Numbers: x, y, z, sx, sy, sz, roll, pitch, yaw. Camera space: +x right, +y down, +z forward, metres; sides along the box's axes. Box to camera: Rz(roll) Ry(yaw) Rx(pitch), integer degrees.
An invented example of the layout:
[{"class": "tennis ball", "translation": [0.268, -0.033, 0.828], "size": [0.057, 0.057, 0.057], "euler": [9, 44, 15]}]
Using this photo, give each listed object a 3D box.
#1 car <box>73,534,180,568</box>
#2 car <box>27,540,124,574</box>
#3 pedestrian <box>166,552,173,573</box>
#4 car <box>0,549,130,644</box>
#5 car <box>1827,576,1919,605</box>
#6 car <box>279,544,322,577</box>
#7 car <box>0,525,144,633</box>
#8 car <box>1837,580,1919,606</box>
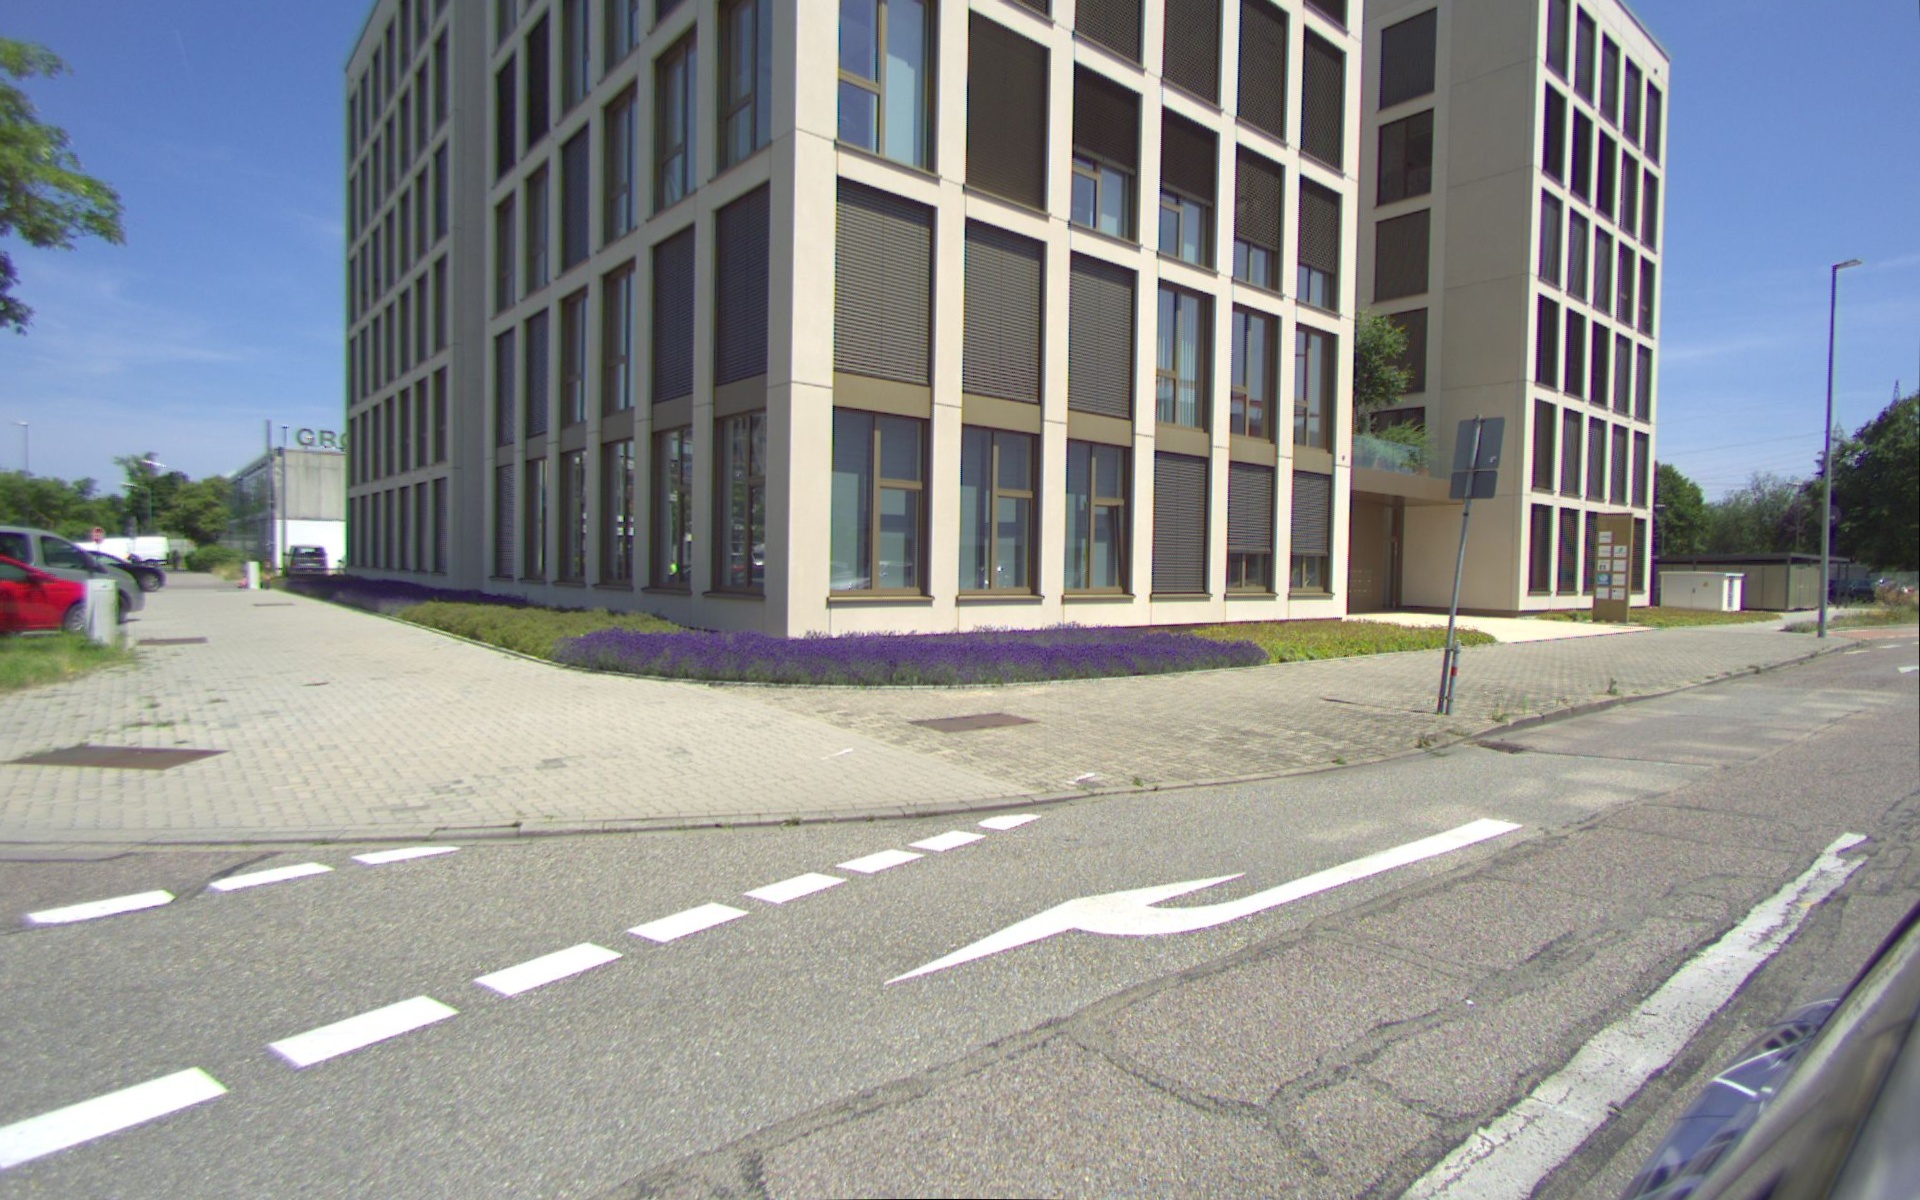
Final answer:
[{"class": "car", "translation": [-67.285, -3.916, 81.902], "size": [6.573, 2.552, 2.217], "euler": [-1, 0, -38]}, {"class": "car", "translation": [-55.164, -2.650, 63.224], "size": [4.495, 2.039, 1.997], "euler": [-1, 0, -40]}, {"class": "pedestrian", "translation": [-58.045, -2.750, 74.302], "size": [0.397, 1.579, 0.549], "euler": [0, 2, -39]}, {"class": "car", "translation": [-15.462, -0.064, 15.604], "size": [1.672, 1.449, 3.990], "euler": [1, 3, 10]}, {"class": "car", "translation": [53.663, -0.577, 59.551], "size": [3.810, 1.571, 1.716], "euler": [2, 2, 36]}, {"class": "car", "translation": [-38.116, -2.238, 58.449], "size": [1.763, 1.749, 3.997], "euler": [0, 0, -38]}, {"class": "car", "translation": [-17.896, -0.403, 18.414], "size": [1.886, 1.910, 4.927], "euler": [1, 1, 5]}, {"class": "car", "translation": [55.292, -0.453, 60.748], "size": [3.810, 1.411, 1.716], "euler": [2, 2, 36]}]
